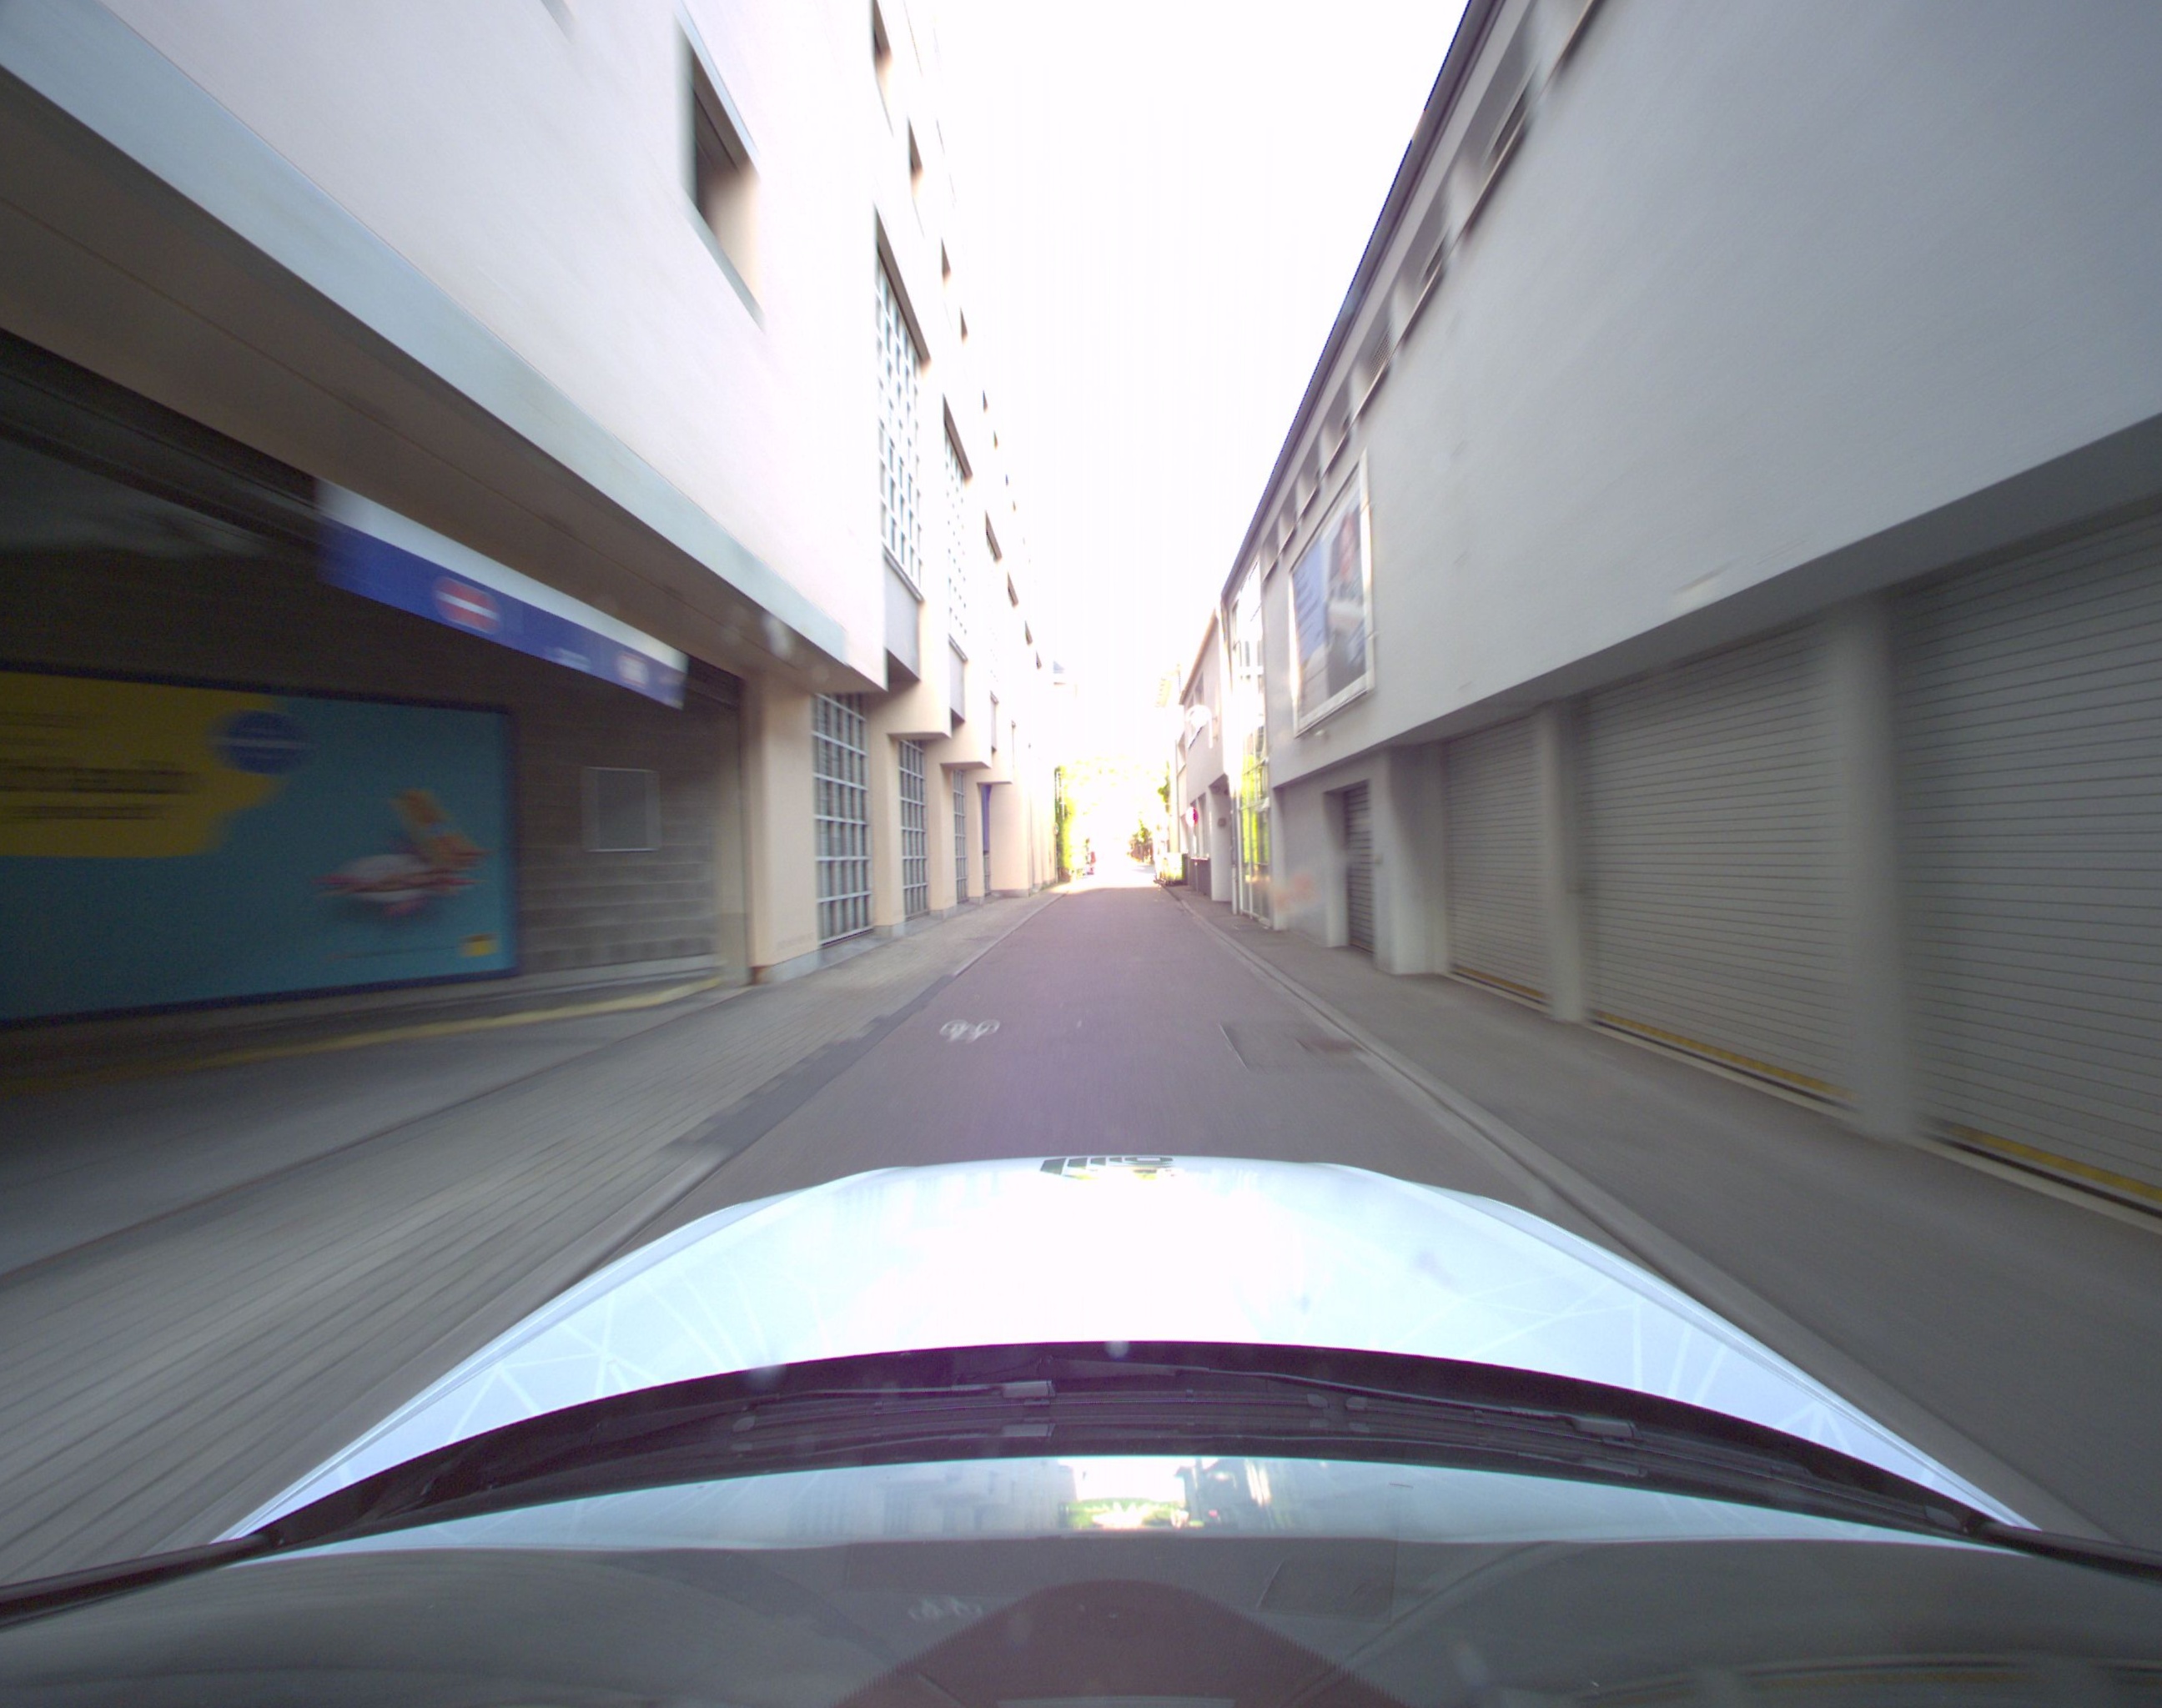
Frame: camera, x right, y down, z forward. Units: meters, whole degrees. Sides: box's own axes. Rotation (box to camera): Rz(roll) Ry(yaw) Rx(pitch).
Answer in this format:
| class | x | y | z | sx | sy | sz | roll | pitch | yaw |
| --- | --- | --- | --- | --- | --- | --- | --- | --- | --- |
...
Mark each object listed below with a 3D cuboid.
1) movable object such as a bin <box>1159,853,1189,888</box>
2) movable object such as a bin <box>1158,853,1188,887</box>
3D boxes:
| class | x | y | z | sx | sy | sz | roll | pitch | yaw |
| --- | --- | --- | --- | --- | --- | --- | --- | --- | --- |
| movable object such as a bin | 3.876 | 0.667 | 33.931 | 0.935 | 1.366 | 1.340 | -4 | 0 | -4 |
| movable object such as a bin | 3.970 | 0.679 | 35.335 | 1.061 | 1.366 | 1.342 | -4 | 0 | 0 |
